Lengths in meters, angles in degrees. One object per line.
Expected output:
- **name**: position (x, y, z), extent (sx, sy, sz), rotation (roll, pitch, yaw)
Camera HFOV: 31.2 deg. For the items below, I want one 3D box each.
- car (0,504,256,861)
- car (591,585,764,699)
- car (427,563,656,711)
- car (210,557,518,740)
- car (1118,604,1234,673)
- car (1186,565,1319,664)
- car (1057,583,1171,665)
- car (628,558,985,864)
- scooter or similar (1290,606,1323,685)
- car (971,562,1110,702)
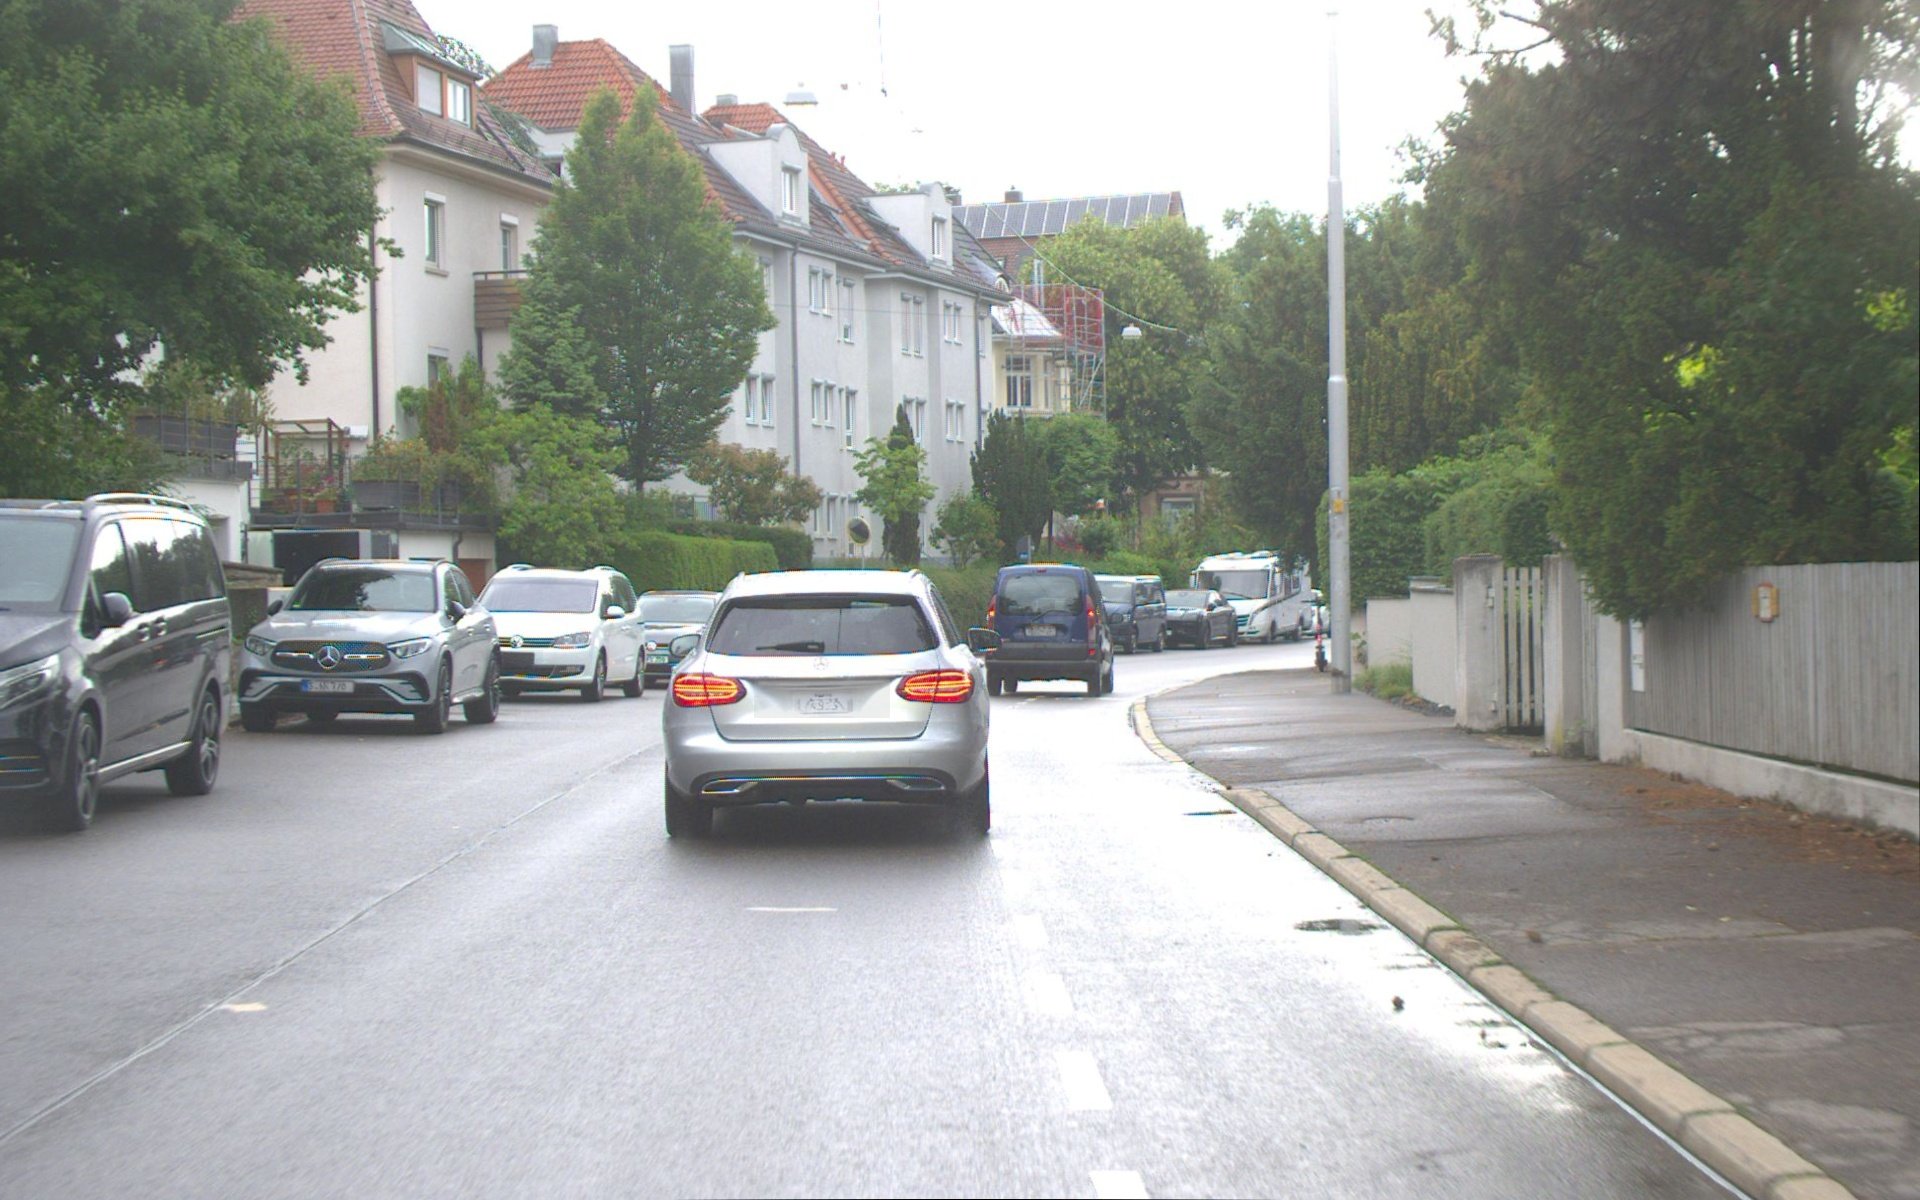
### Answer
- **car**: position (-5.829, 0.404, 20.771), extent (1.993, 1.872, 5.356), rotation (1, 0, 0)
- **car**: position (-4.236, 0.608, 52.159), extent (1.792, 1.575, 4.137), rotation (3, 0, 6)
- **car**: position (-5.263, 0.439, 43.831), extent (1.994, 1.696, 4.738), rotation (3, 0, 4)
- **car**: position (-5.733, 0.432, 33.685), extent (1.993, 1.575, 4.761), rotation (3, 0, 2)
- **car**: position (6.062, 1.048, 95.899), extent (1.995, 1.682, 4.672), rotation (1, 2, 20)
- **car**: position (8.839, 0.387, 103.155), extent (2.393, 2.762, 6.525), rotation (1, 1, 19)
- **car**: position (4.073, 0.635, 90.104), extent (1.831, 2.049, 5.005), rotation (1, 0, 16)
- **car**: position (-0.806, 0.559, 19.754), extent (1.816, 1.551, 4.000), rotation (1, 0, 0)
- **scooter or similar**: position (5.851, 0.766, 58.070), extent (0.450, 1.303, 1.481), rotation (-1, -1, 9)
- **car**: position (1.192, 0.461, 49.323), extent (1.843, 1.897, 3.999), rotation (1, -1, 3)
